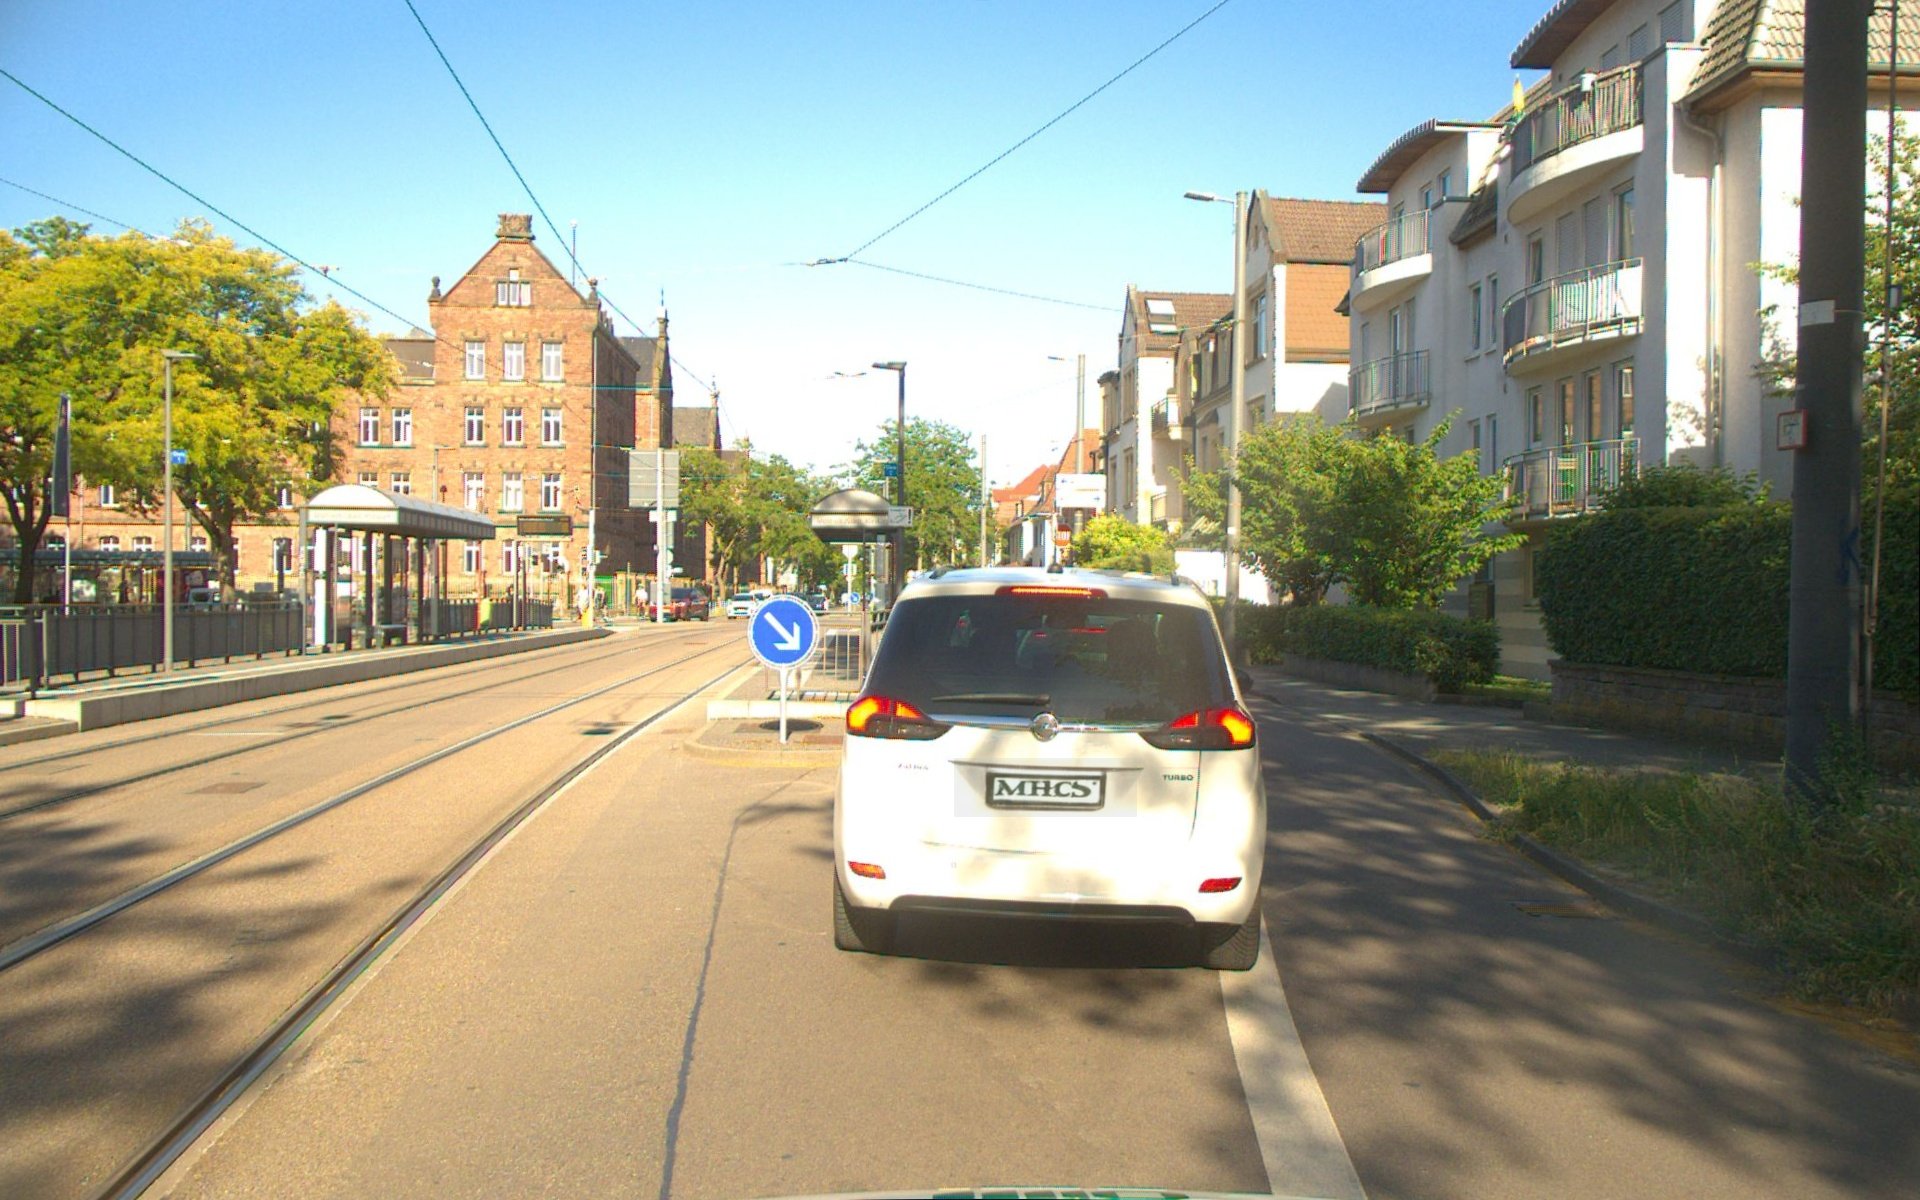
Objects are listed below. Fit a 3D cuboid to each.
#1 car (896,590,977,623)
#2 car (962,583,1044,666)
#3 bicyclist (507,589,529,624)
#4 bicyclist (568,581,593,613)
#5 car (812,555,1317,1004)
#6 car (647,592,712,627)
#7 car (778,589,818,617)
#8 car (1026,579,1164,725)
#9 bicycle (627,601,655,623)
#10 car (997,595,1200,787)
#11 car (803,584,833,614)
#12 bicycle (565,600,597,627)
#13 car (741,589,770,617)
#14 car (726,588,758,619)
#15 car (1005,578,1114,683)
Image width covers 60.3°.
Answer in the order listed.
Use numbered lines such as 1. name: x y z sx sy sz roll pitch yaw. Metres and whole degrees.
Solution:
1. car: -1.202 0.334 86.069 3.902 1.658 1.673 0 0 14
2. car: 0.896 0.495 36.248 1.563 1.663 3.900 2 0 -1
3. bicyclist: -18.725 0.272 70.095 0.640 1.485 1.151 0 0 -2
4. bicyclist: -17.963 -0.147 78.259 0.740 1.496 1.191 0 -1 9
5. car: 0.540 0.643 8.096 1.838 1.613 4.002 1 0 5
6. car: -13.261 0.427 78.310 1.779 1.635 4.363 0 0 8
7. car: -9.715 0.148 99.361 1.953 1.624 4.000 0 0 0
8. car: 1.718 0.592 21.056 1.536 1.643 3.786 2 0 5
9. bicycle: -16.596 0.617 86.061 0.655 1.091 2.016 1 1 14
10. car: 1.231 0.703 14.797 1.536 1.426 3.786 2 0 5
11. car: -9.828 -0.088 114.874 1.954 2.049 3.997 0 0 -4
12. bicycle: -17.938 0.639 78.410 0.798 1.220 1.954 -1 -2 9
13. car: -13.584 0.184 109.970 1.792 1.819 4.249 0 0 -6
14. car: -13.349 0.213 101.534 1.664 1.841 3.997 0 0 -4
15. car: 1.690 0.493 29.192 1.563 1.663 3.900 2 0 -1
